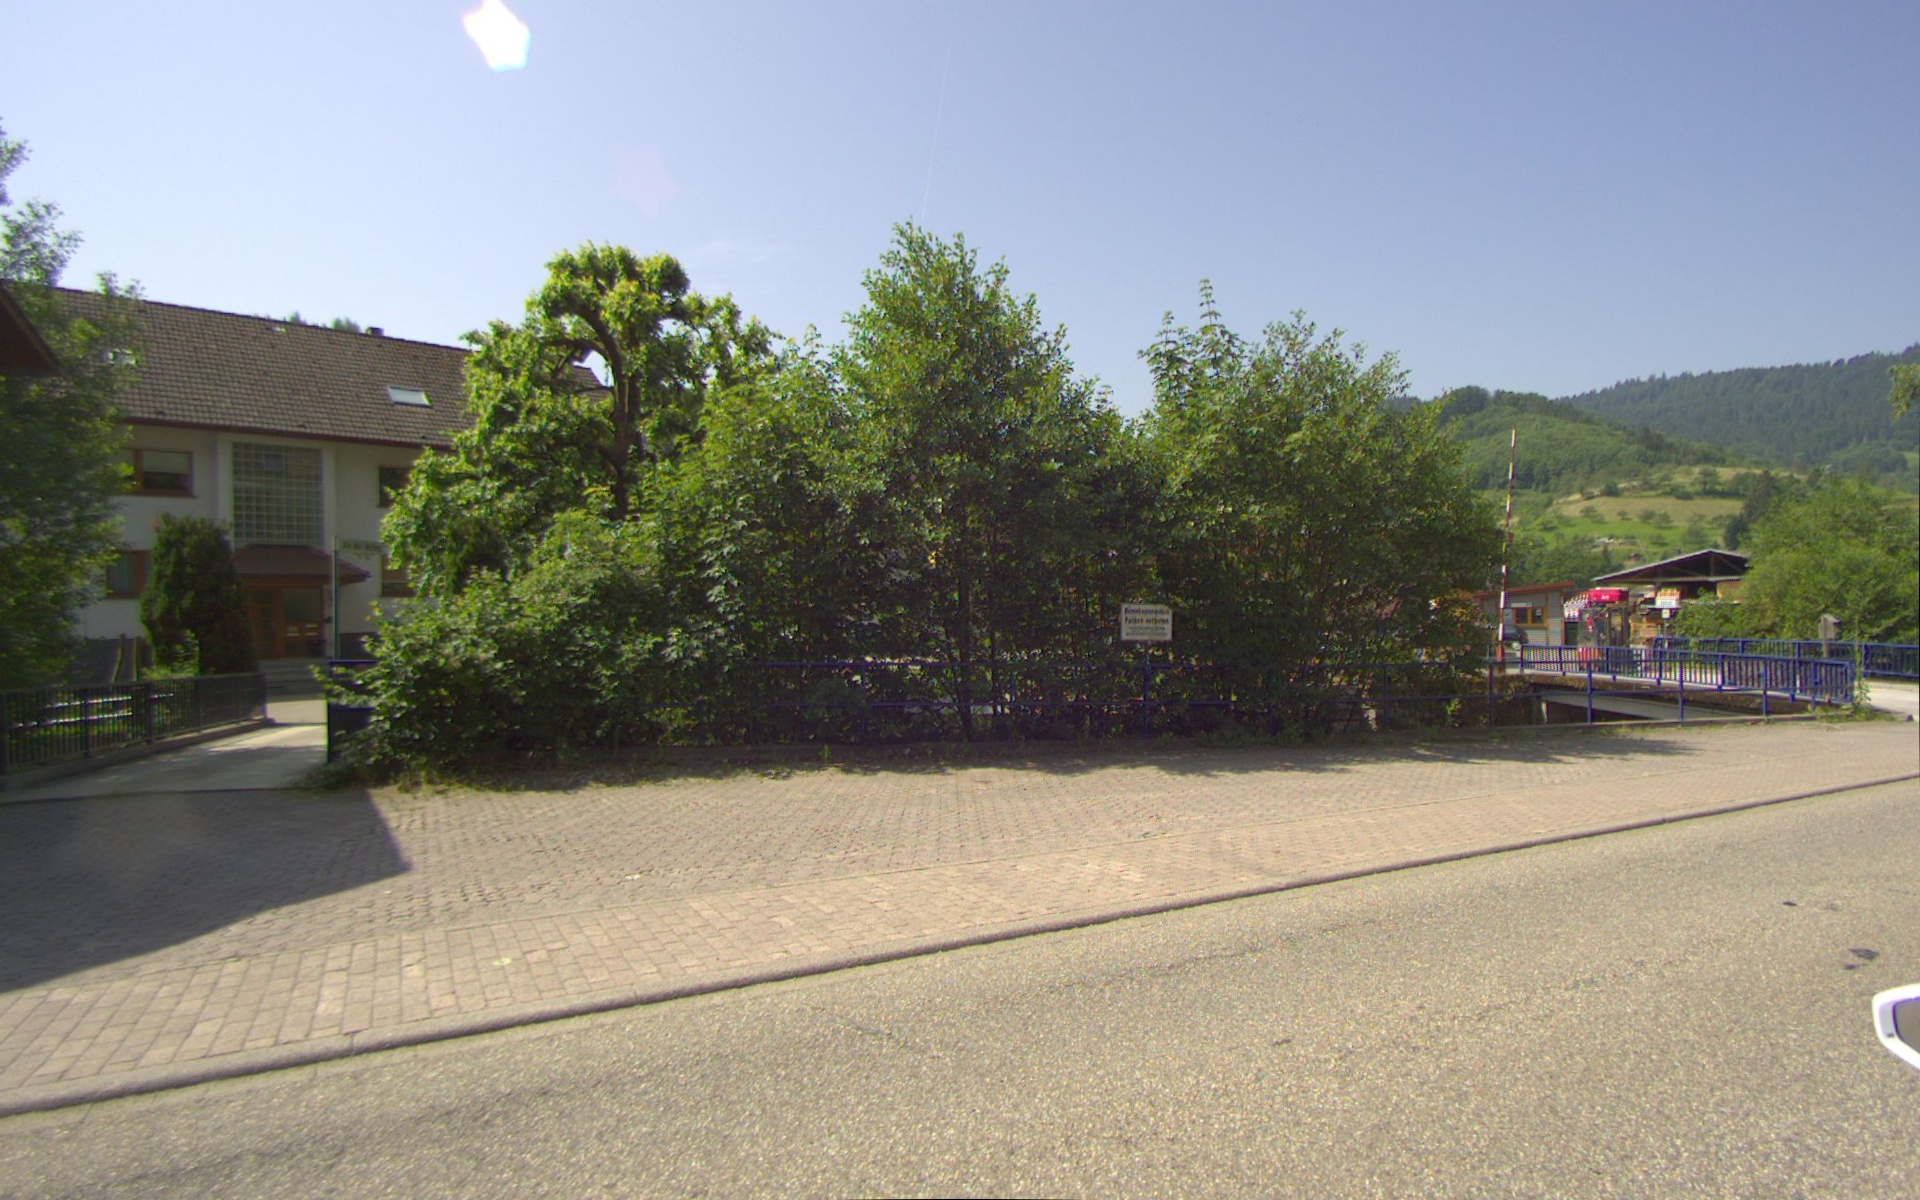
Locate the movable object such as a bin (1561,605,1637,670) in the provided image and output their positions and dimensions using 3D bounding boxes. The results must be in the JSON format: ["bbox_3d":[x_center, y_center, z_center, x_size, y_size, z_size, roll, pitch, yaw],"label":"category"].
[{"bbox_3d":[21.290,1.257,33.551,1.114,2.099,2.126,0,-2,-2],"label":"movable object such as a bin"}]

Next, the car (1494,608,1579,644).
[{"bbox_3d":[34.499,1.573,60.248,3.919,2.040,2.002,-1,-2,9],"label":"car"}]
